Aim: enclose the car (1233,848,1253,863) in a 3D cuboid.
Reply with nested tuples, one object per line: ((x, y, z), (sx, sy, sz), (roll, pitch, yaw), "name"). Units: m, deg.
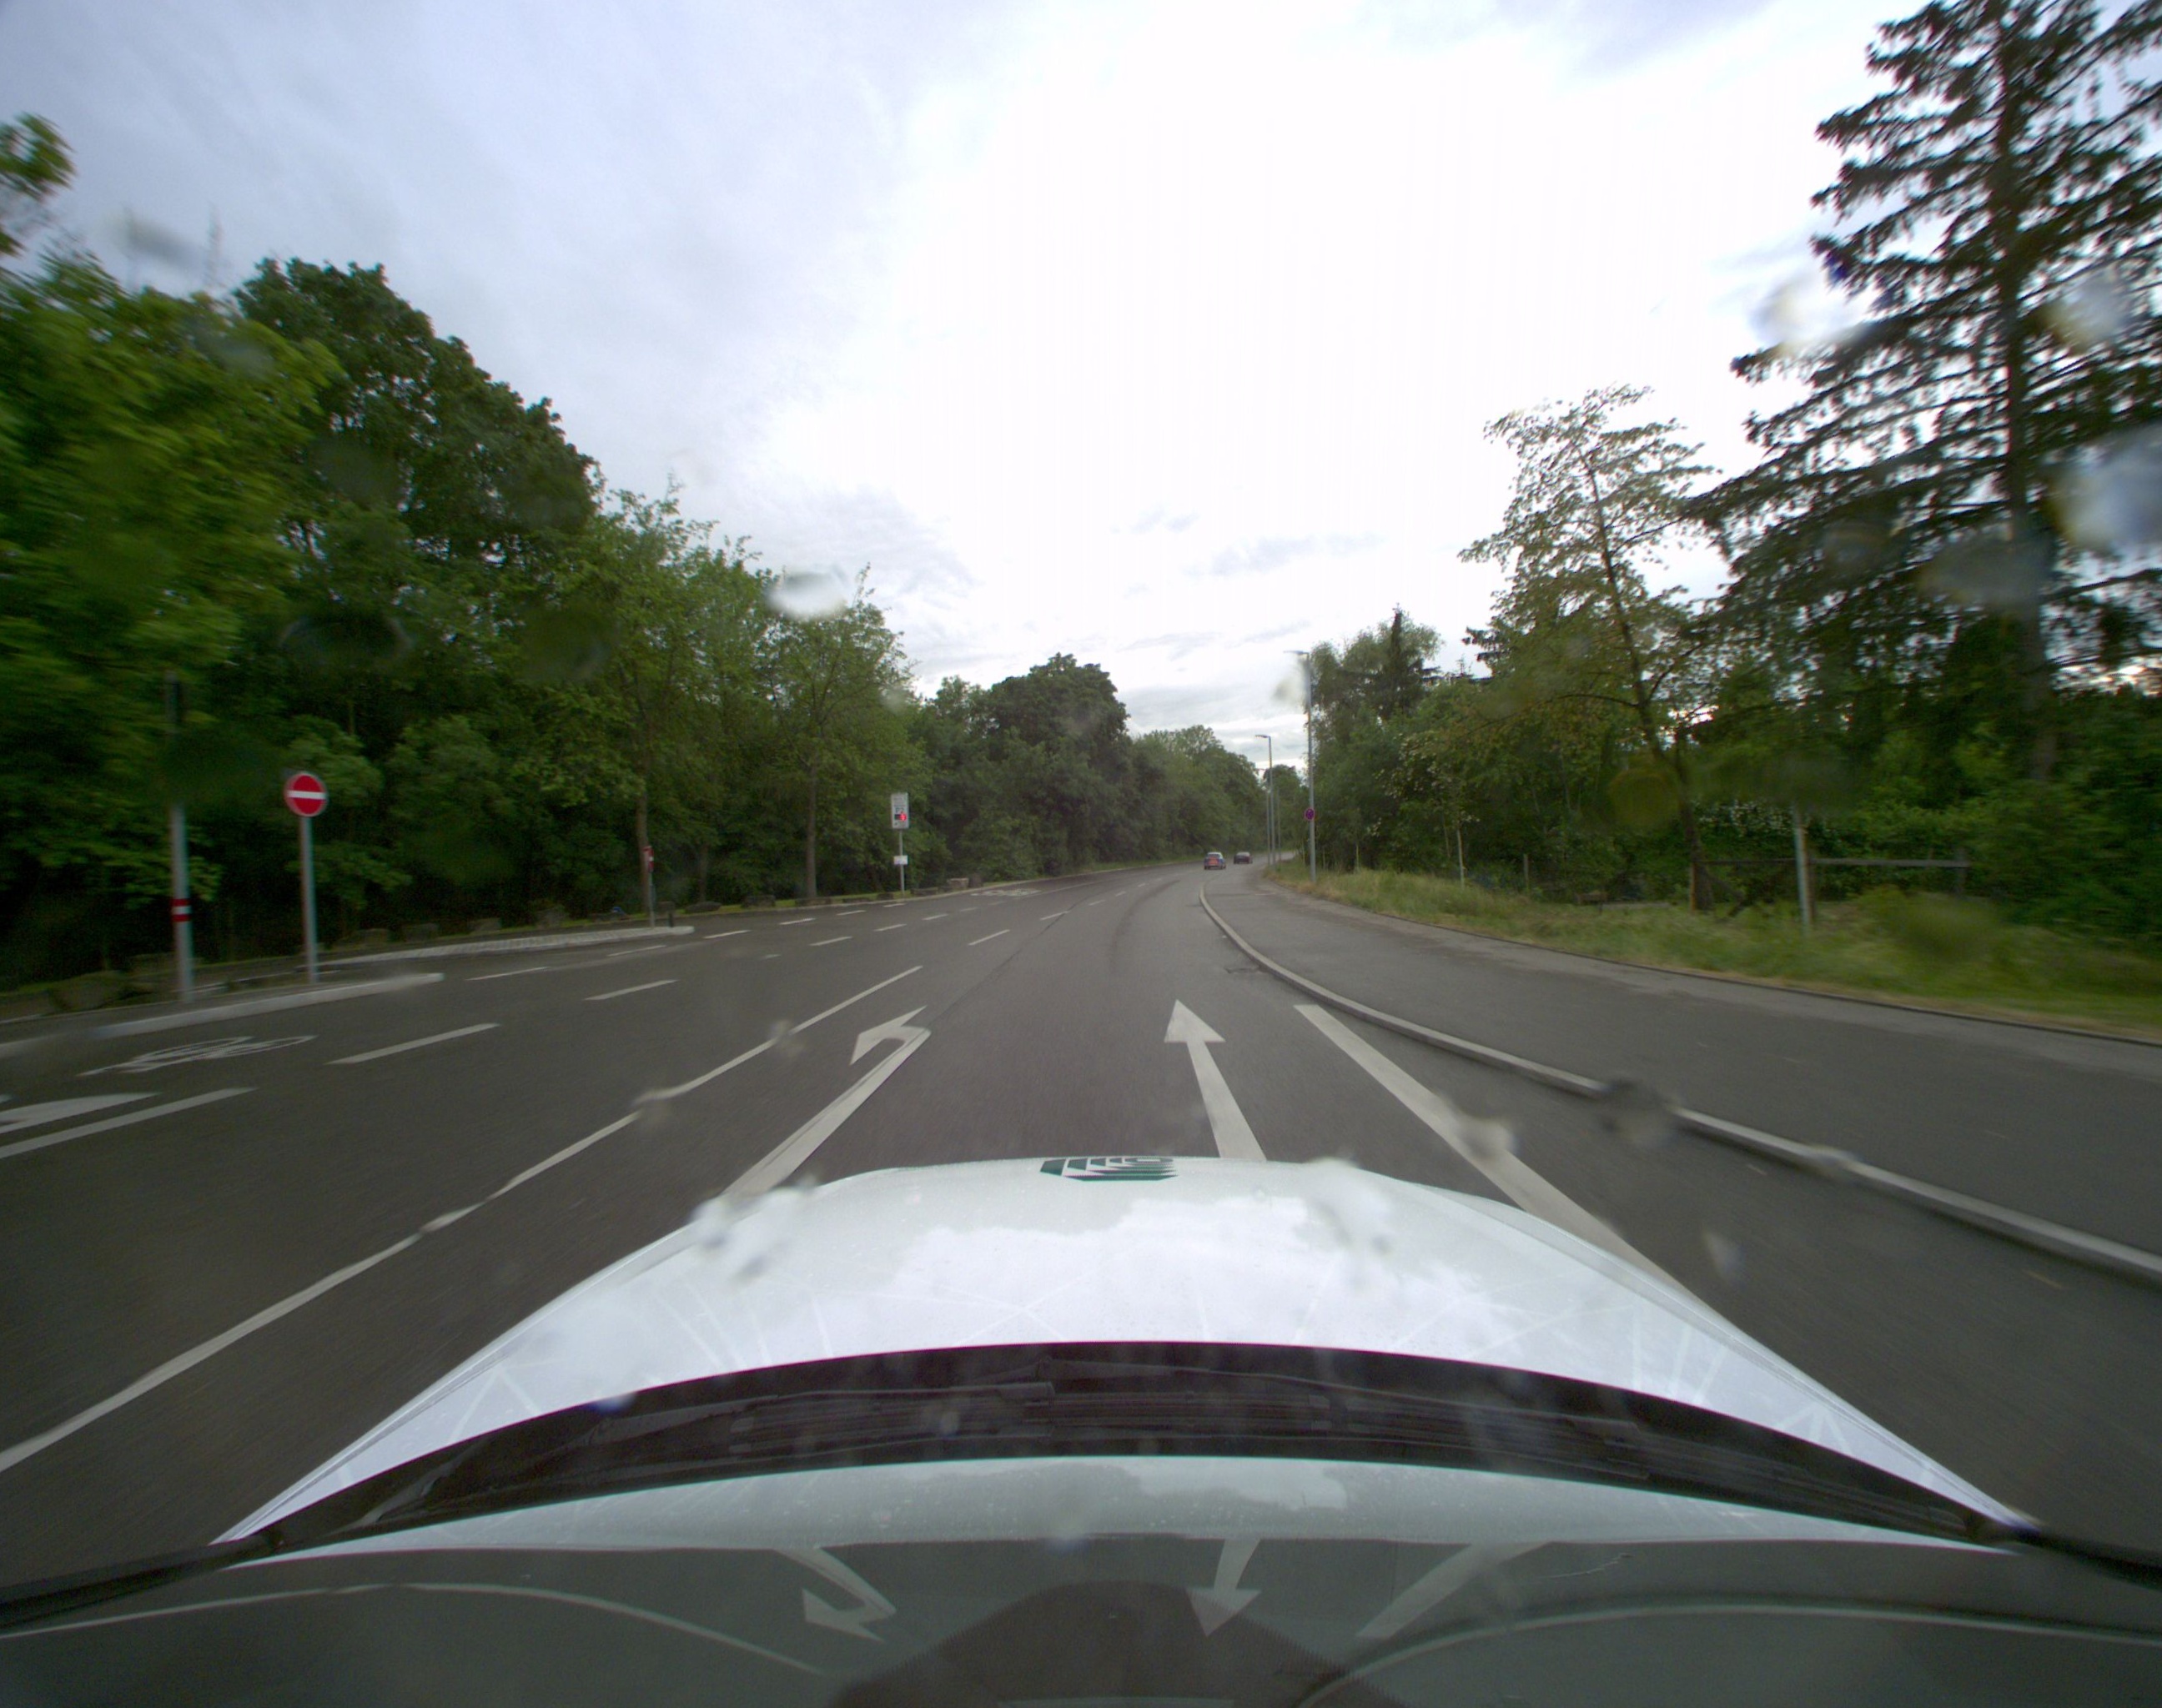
((19.312, 0.158, 96.733), (1.912, 1.486, 3.817), (-3, 2, 17), "car")

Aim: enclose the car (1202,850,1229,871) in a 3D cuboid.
((12.647, 0.586, 76.564), (1.978, 1.689, 4.018), (-3, 2, 16), "car")
